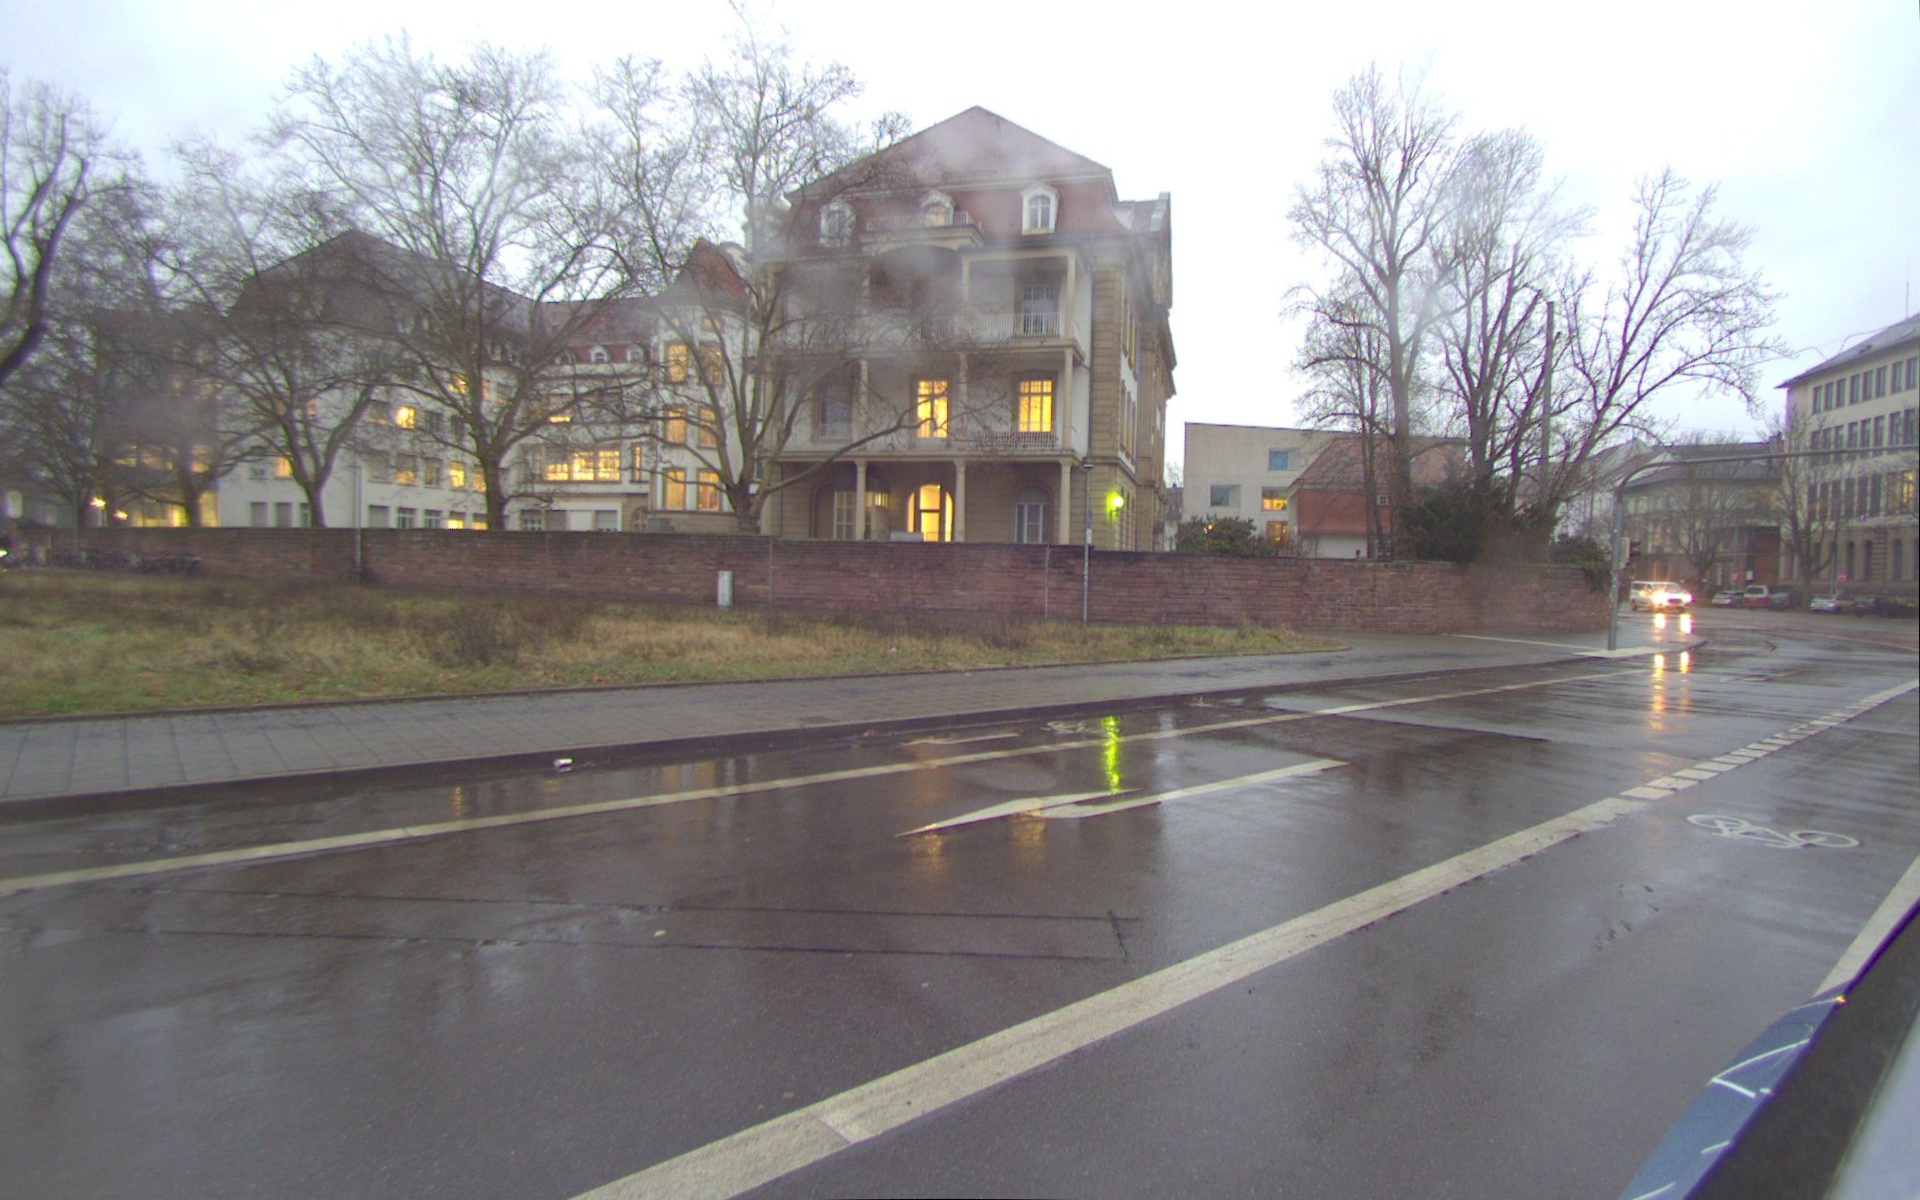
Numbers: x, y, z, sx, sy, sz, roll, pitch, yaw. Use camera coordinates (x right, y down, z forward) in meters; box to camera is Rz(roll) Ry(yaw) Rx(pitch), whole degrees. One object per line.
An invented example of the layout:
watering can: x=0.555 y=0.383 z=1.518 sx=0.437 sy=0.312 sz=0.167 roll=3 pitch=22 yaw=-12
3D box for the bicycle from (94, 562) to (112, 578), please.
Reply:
bicycle: x=-43.126 y=-1.499 z=50.901 sx=1.522 sy=0.796 sz=0.389 roll=0 pitch=0 yaw=38

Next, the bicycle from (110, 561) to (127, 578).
bicycle: x=-41.469 y=-1.480 z=49.880 sx=1.599 sy=0.796 sz=0.388 roll=0 pitch=0 yaw=41

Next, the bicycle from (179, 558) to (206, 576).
bicycle: x=-34.205 y=-1.472 z=45.114 sx=1.399 sy=0.796 sz=0.355 roll=0 pitch=0 yaw=26

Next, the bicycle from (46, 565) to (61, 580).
bicycle: x=-51.604 y=-1.551 z=57.597 sx=1.522 sy=0.796 sz=0.389 roll=0 pitch=0 yaw=38

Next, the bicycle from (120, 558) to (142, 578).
bicycle: x=-39.904 y=-1.543 z=48.726 sx=1.519 sy=0.928 sz=0.389 roll=0 pitch=0 yaw=33

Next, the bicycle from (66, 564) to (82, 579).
bicycle: x=-47.891 y=-1.542 z=54.678 sx=1.522 sy=0.796 sz=0.389 roll=0 pitch=0 yaw=38

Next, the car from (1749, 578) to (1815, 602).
car: x=64.986 y=-0.795 z=80.027 sx=3.916 sy=1.924 sz=2.052 roll=0 pitch=0 yaw=-13

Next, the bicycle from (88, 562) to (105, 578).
bicycle: x=-44.174 y=-1.533 z=51.772 sx=1.522 sy=0.796 sz=0.389 roll=0 pitch=0 yaw=38

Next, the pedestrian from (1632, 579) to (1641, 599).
pedestrian: x=68.412 y=-1.098 z=102.354 sx=0.539 sy=2.038 sz=0.472 roll=2 pitch=2 yaw=16

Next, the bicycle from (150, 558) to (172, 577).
bicycle: x=-37.026 y=-1.501 z=46.889 sx=1.480 sy=0.849 sz=0.346 roll=0 pitch=0 yaw=32

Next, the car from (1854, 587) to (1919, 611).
car: x=61.966 y=-0.063 z=66.974 sx=3.927 sy=1.570 sz=1.800 roll=0 pitch=0 yaw=4

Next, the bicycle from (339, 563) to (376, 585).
bicycle: x=-23.380 y=-0.991 z=39.275 sx=1.366 sy=0.835 sz=0.392 roll=0 pitch=0 yaw=14

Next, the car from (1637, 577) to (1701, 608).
car: x=48.007 y=-0.528 z=68.614 sx=1.971 sy=2.039 sz=4.868 roll=0 pitch=0 yaw=15

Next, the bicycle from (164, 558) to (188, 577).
bicycle: x=-35.546 y=-1.472 z=45.864 sx=1.519 sy=0.796 sz=0.389 roll=0 pitch=0 yaw=33

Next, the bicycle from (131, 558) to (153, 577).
bicycle: x=-38.621 y=-1.511 z=47.772 sx=1.519 sy=0.869 sz=0.389 roll=0 pitch=0 yaw=33

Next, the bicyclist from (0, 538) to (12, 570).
bicyclist: x=-49.855 y=-2.383 z=52.747 sx=0.450 sy=1.662 sz=0.603 roll=0 pitch=0 yaw=37

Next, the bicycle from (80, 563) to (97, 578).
bicycle: x=-45.437 y=-1.536 z=52.745 sx=1.522 sy=0.796 sz=0.389 roll=0 pitch=0 yaw=38

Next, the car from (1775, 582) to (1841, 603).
car: x=64.704 y=-0.589 z=77.230 sx=3.916 sy=1.570 sz=1.805 roll=0 pitch=0 yaw=-13

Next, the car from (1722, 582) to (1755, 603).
car: x=66.486 y=-0.649 z=86.392 sx=1.992 sy=1.690 sz=3.940 roll=0 pitch=1 yaw=42

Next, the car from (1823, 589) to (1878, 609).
car: x=63.607 y=-0.085 z=72.305 sx=3.568 sy=1.322 sz=1.712 roll=-1 pitch=0 yaw=-25
